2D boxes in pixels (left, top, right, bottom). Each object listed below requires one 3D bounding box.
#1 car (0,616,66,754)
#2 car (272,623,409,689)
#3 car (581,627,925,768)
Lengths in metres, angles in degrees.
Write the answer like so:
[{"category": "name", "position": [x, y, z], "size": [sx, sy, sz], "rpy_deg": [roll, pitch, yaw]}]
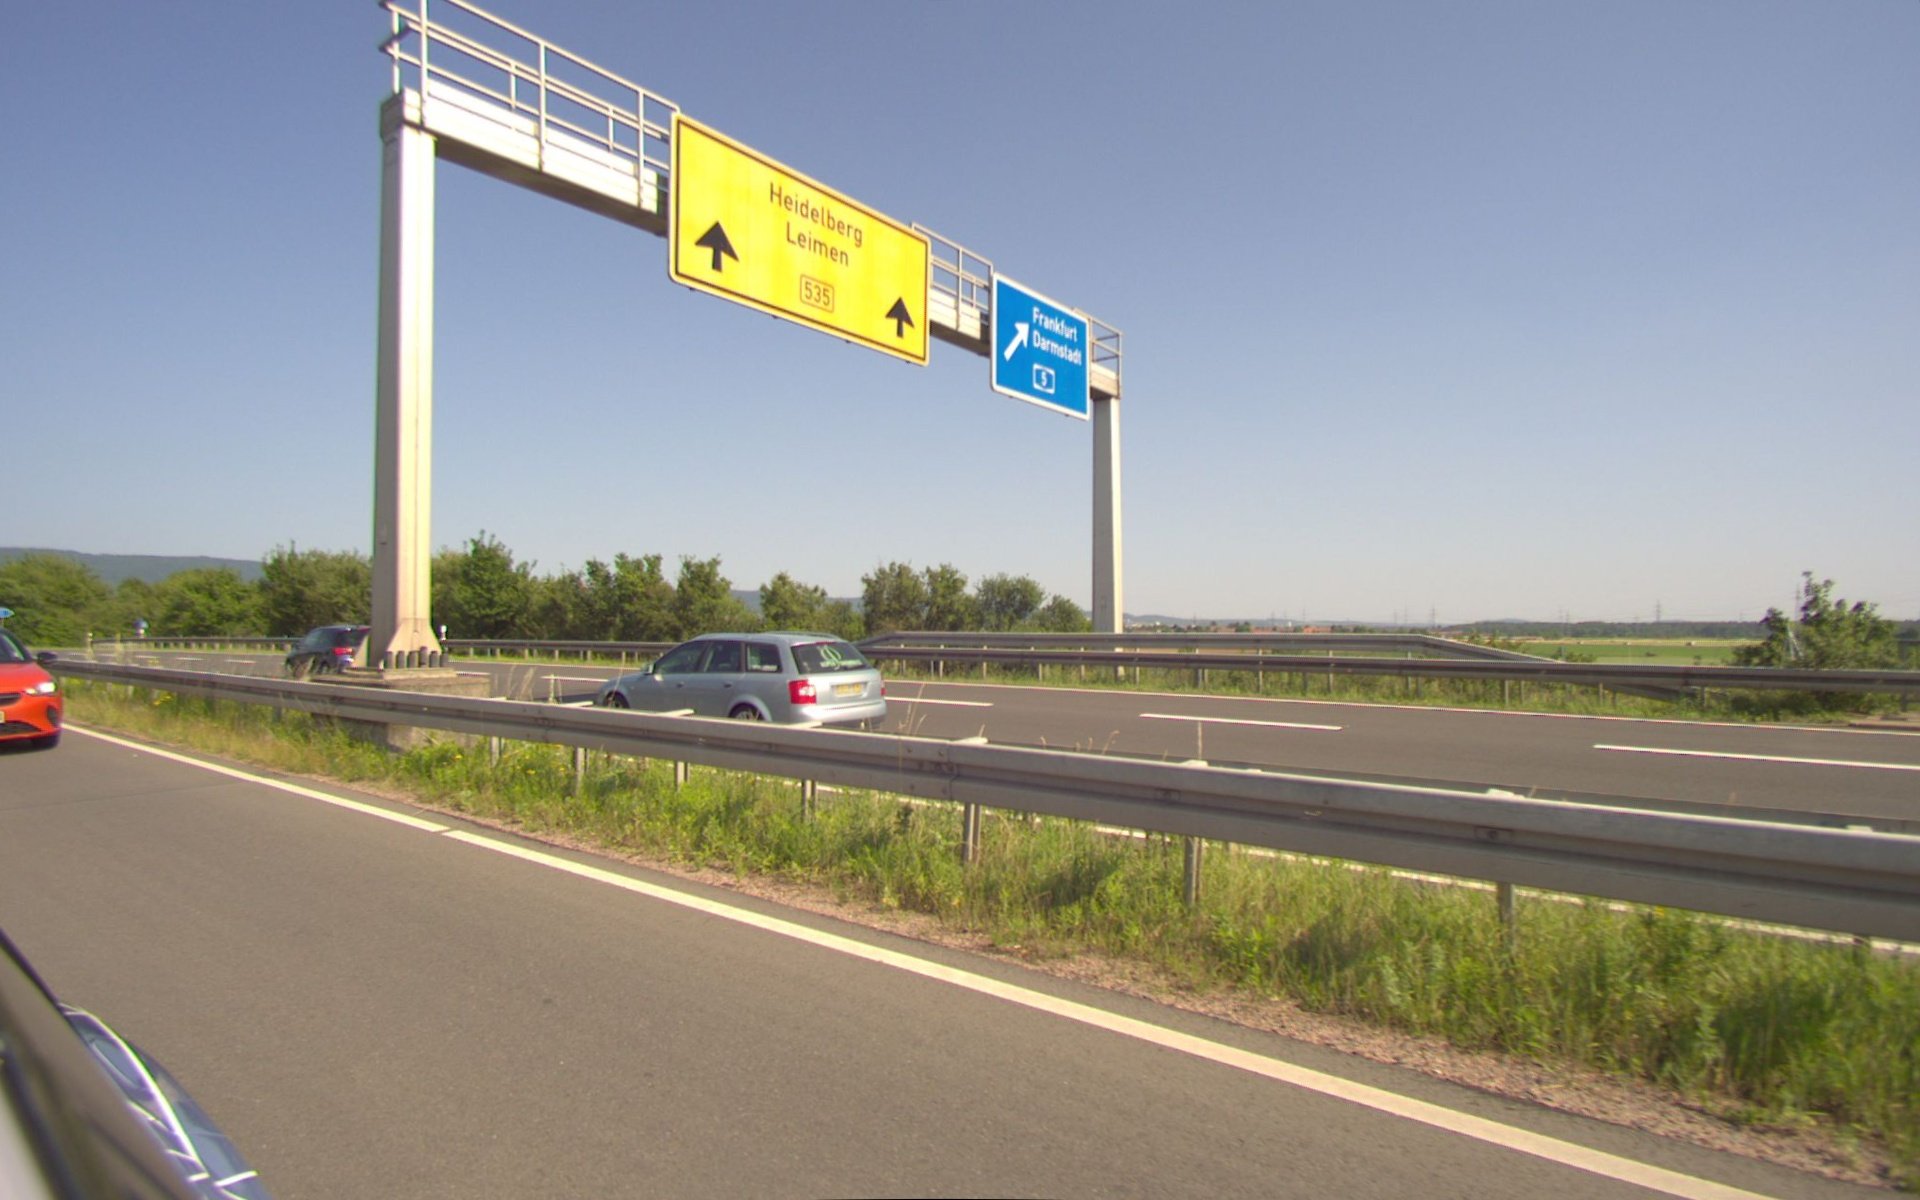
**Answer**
[{"category": "car", "position": [-12.021, 0.929, 11.763], "size": [4.406, 1.448, 1.692], "rpy_deg": [-1, -2, 38]}, {"category": "car", "position": [-15.673, 1.351, 25.531], "size": [3.997, 1.485, 1.777], "rpy_deg": [-1, -1, 40]}, {"category": "car", "position": [-2.754, 1.092, 12.912], "size": [4.496, 1.449, 1.856], "rpy_deg": [-1, -1, 38]}]
